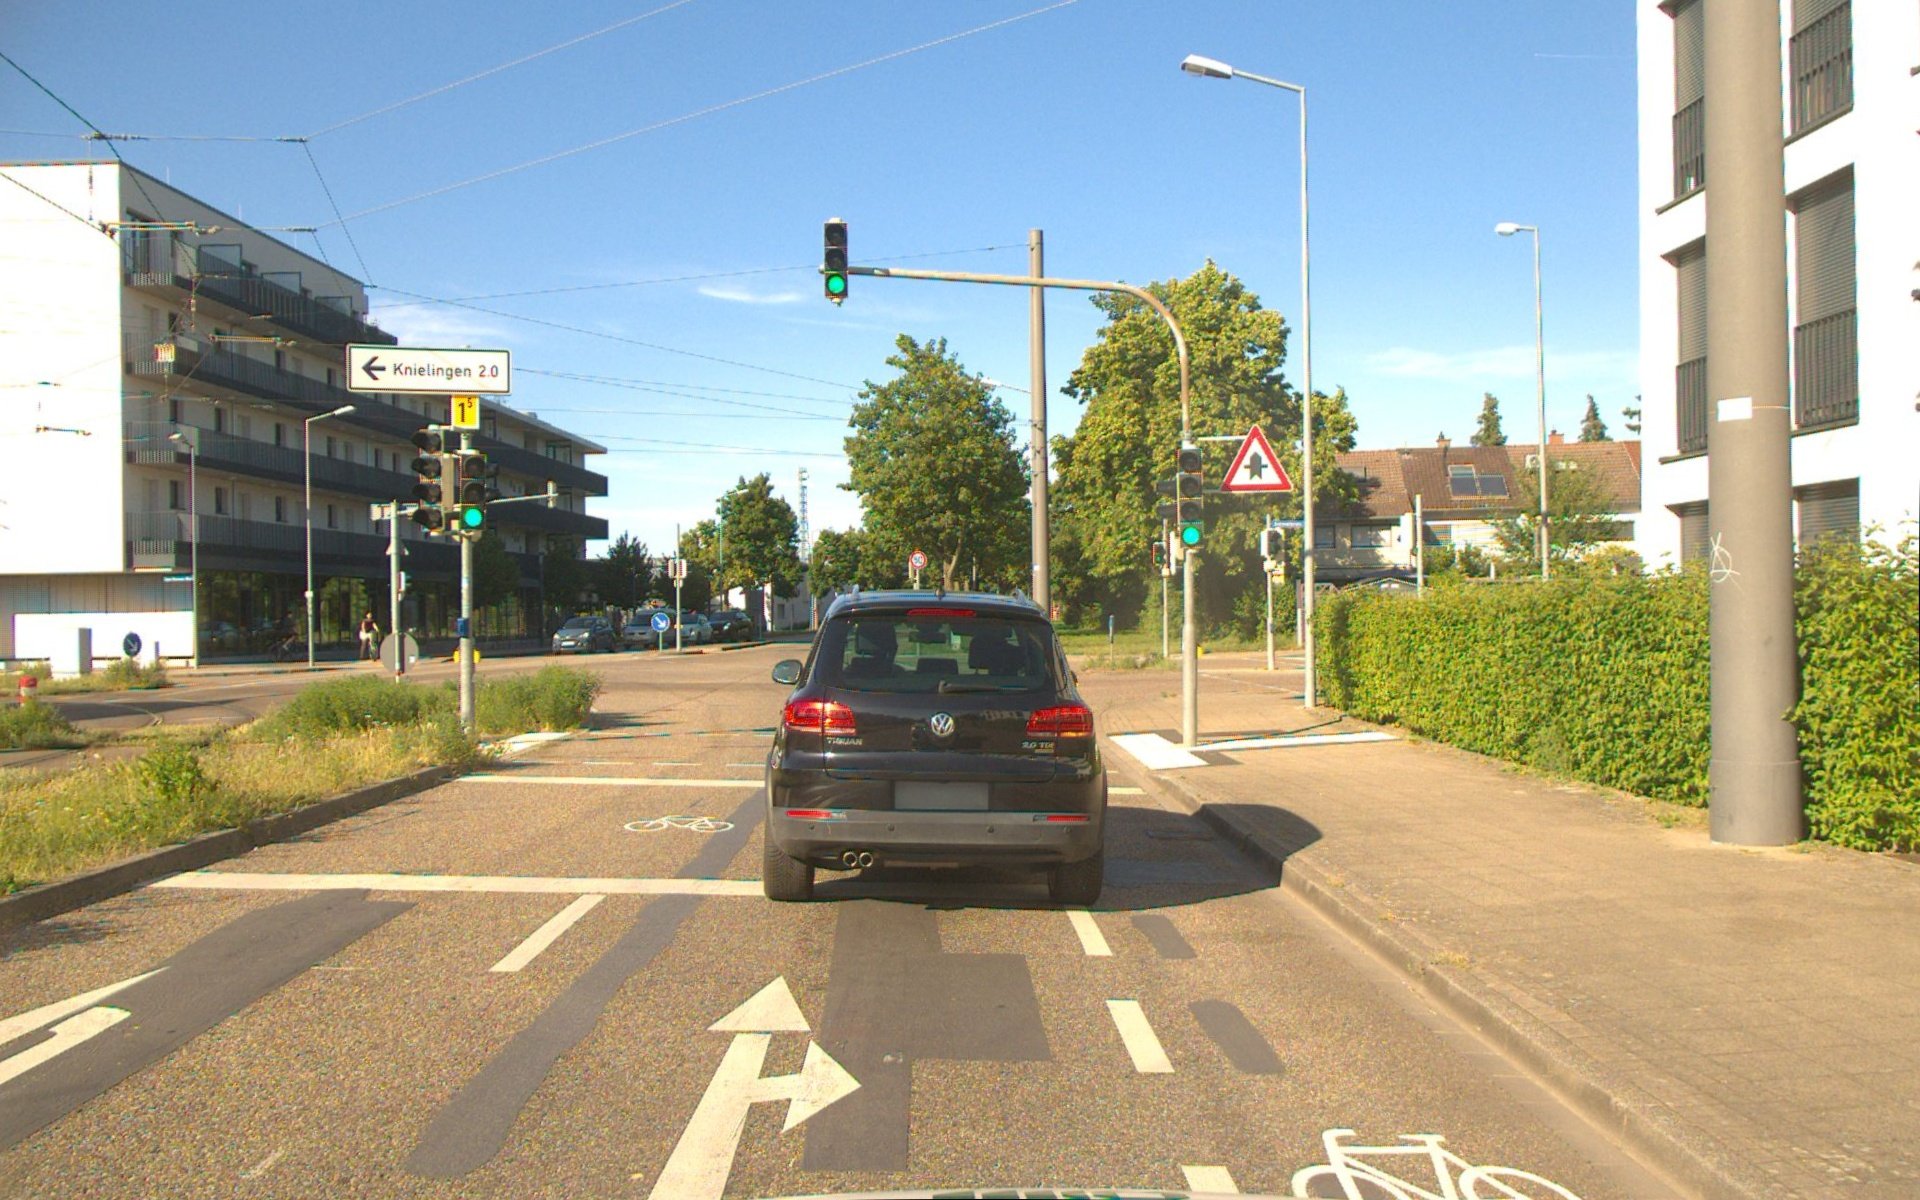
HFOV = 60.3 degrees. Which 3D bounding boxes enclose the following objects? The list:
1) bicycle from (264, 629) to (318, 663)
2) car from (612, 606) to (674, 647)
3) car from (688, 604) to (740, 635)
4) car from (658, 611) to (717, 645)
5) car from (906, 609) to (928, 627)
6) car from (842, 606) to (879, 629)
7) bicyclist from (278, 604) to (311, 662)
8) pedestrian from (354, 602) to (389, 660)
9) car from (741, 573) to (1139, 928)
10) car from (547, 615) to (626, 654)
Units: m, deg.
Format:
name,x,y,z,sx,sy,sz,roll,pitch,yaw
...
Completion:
name,x,y,z,sx,sy,sz,roll,pitch,yaw
bicycle,-23.951,1.654,59.249,0.731,1.164,1.635,-2,-1,39
car,-14.529,1.206,76.039,1.952,1.786,4.362,-1,0,0
car,-13.015,1.039,87.714,1.926,1.561,4.741,-1,0,2
car,-13.474,1.359,82.079,1.951,1.513,3.546,-3,0,6
car,-4.519,1.885,173.410,1.952,1.768,5.200,-1,0,2
car,-7.356,1.265,122.356,1.951,1.599,4.003,-1,0,7
bicyclist,-23.894,1.199,59.353,0.796,2.049,0.791,-2,-1,40
pedestrian,-21.260,1.107,59.730,0.957,2.049,0.760,-1,-1,-3
car,-0.158,0.749,10.253,1.890,1.683,4.512,1,-1,-2
car,-15.060,1.377,66.896,1.659,1.482,4.456,-1,0,7
